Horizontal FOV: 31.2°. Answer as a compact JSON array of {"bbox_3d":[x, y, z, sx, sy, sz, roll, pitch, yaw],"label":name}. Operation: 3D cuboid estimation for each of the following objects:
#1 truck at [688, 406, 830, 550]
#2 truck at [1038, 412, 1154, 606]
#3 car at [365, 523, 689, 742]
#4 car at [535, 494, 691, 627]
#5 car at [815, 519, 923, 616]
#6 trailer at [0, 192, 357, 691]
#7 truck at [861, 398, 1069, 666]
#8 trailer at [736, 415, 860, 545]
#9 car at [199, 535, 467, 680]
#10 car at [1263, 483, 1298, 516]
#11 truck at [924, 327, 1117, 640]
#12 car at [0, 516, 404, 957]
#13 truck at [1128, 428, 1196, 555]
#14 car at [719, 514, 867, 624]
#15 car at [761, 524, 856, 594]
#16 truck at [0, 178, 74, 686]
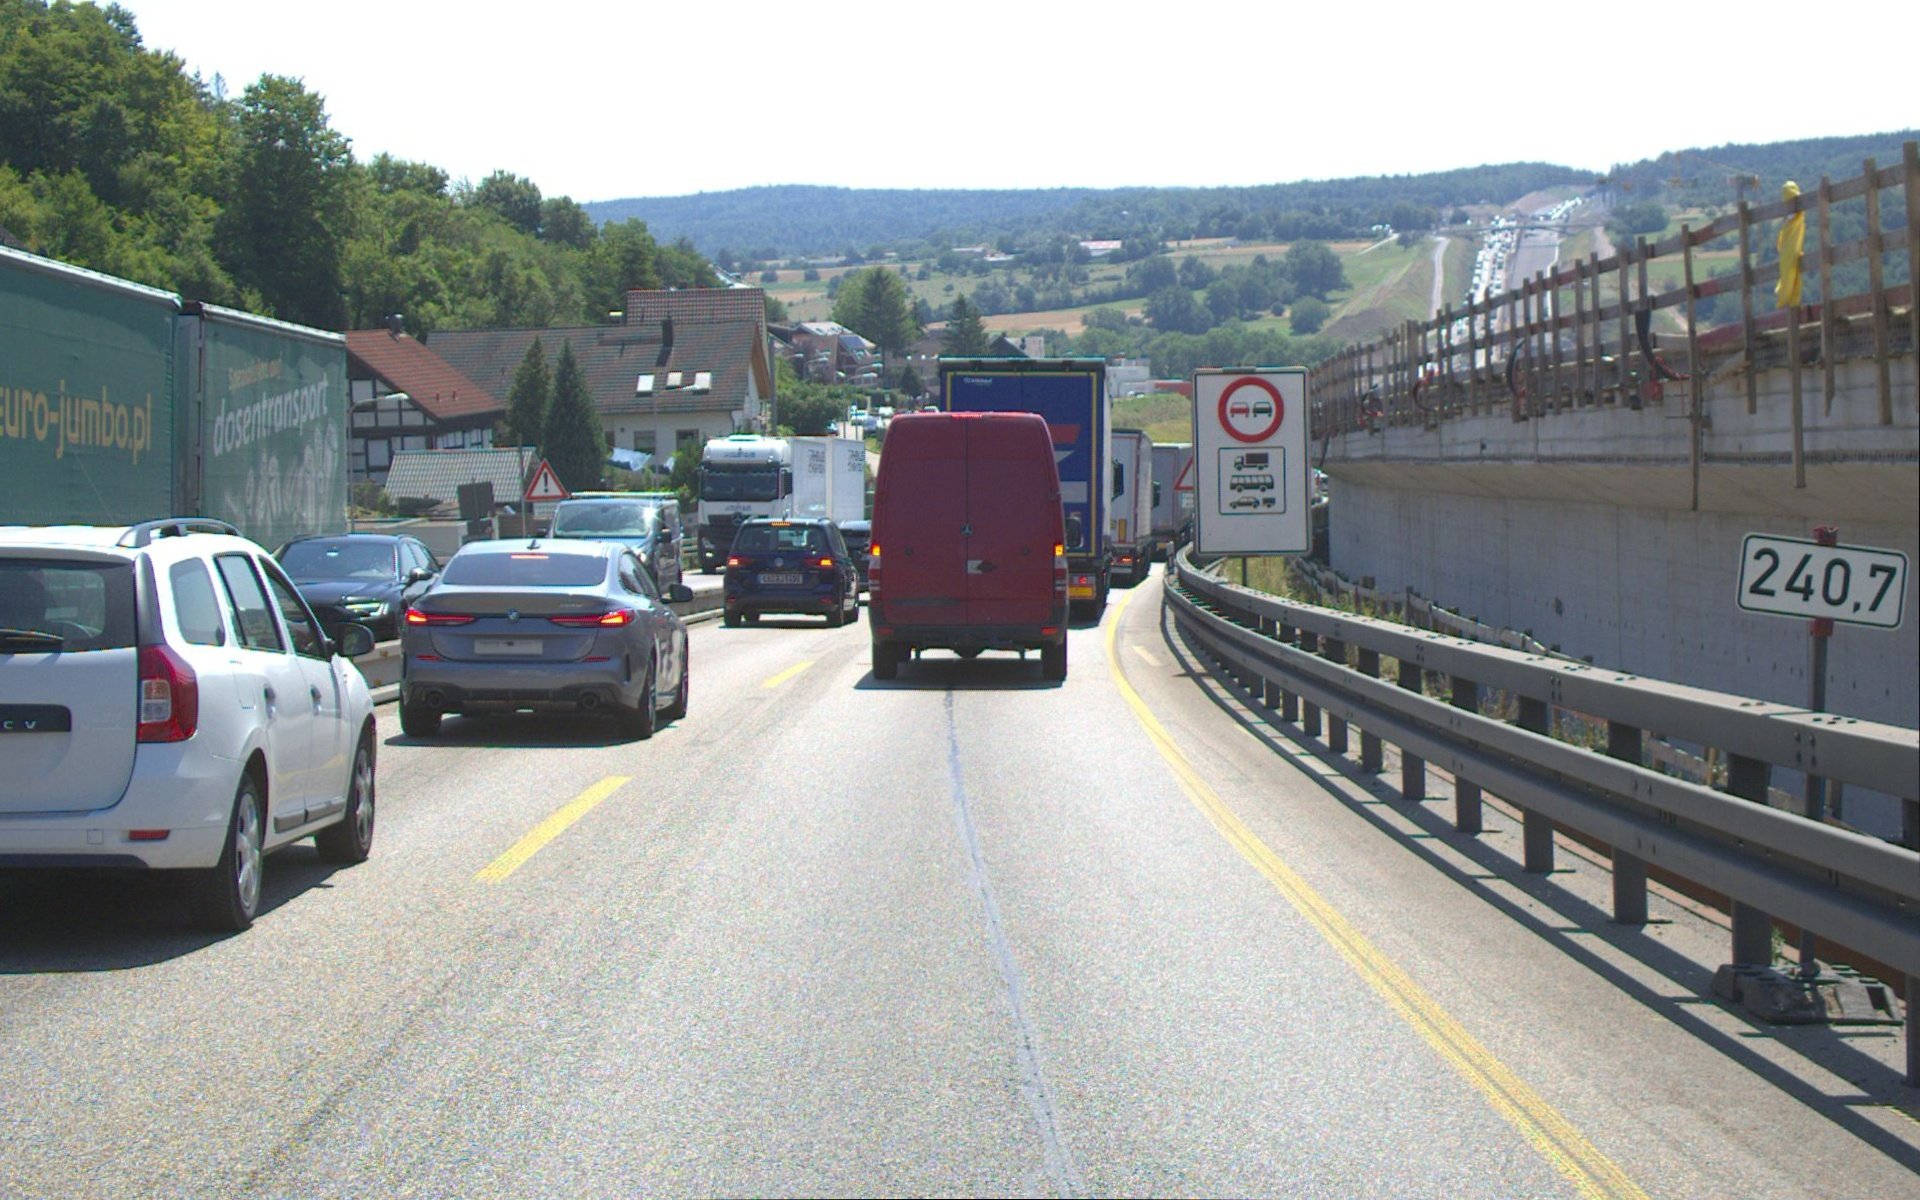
[{"bbox_3d":[-5.994,-3.667,104.292,2.978,4.148,10.544,0,2,4],"label":"truck"},{"bbox_3d":[3.639,-2.280,89.855,2.786,4.799,9.684,0,0,4],"label":"truck"},{"bbox_3d":[-3.117,0.183,25.508,1.795,1.480,4.050,0,1,1],"label":"car"},{"bbox_3d":[-5.864,-0.664,58.646,1.994,2.165,4.832,0,0,2],"label":"car"},{"bbox_3d":[-1.739,-0.626,66.953,1.729,1.832,3.999,0,0,4],"label":"car"},{"bbox_3d":[-9.758,-1.519,39.204,2.834,4.625,14.580,0,0,2],"label":"trailer"},{"bbox_3d":[0.095,-0.667,35.007,1.993,2.570,4.000,0,0,1],"label":"truck"},{"bbox_3d":[-5.297,-3.931,114.048,3.004,4.151,9.016,0,1,5],"label":"trailer"},{"bbox_3d":[-6.658,0.058,37.024,1.902,1.457,4.757,0,0,2],"label":"car"},{"bbox_3d":[20.855,-6.524,223.574,2.132,2.007,3.999,0,0,8],"label":"car"},{"bbox_3d":[1.144,-1.825,57.649,2.786,4.799,9.684,0,0,4],"label":"truck"},{"bbox_3d":[-3.452,0.460,13.848,1.651,1.478,4.266,-2,1,0],"label":"car"},{"bbox_3d":[7.118,-3.764,120.935,1.994,4.366,3.998,0,0,9],"label":"truck"},{"bbox_3d":[-2.499,-0.467,52.369,1.810,1.602,3.718,0,0,4],"label":"car"},{"bbox_3d":[-3.609,-0.960,82.564,1.582,1.516,4.152,0,-2,8],"label":"car"},{"bbox_3d":[-10.060,-1.508,30.447,2.846,4.564,5.787,0,0,1],"label":"truck"}]
